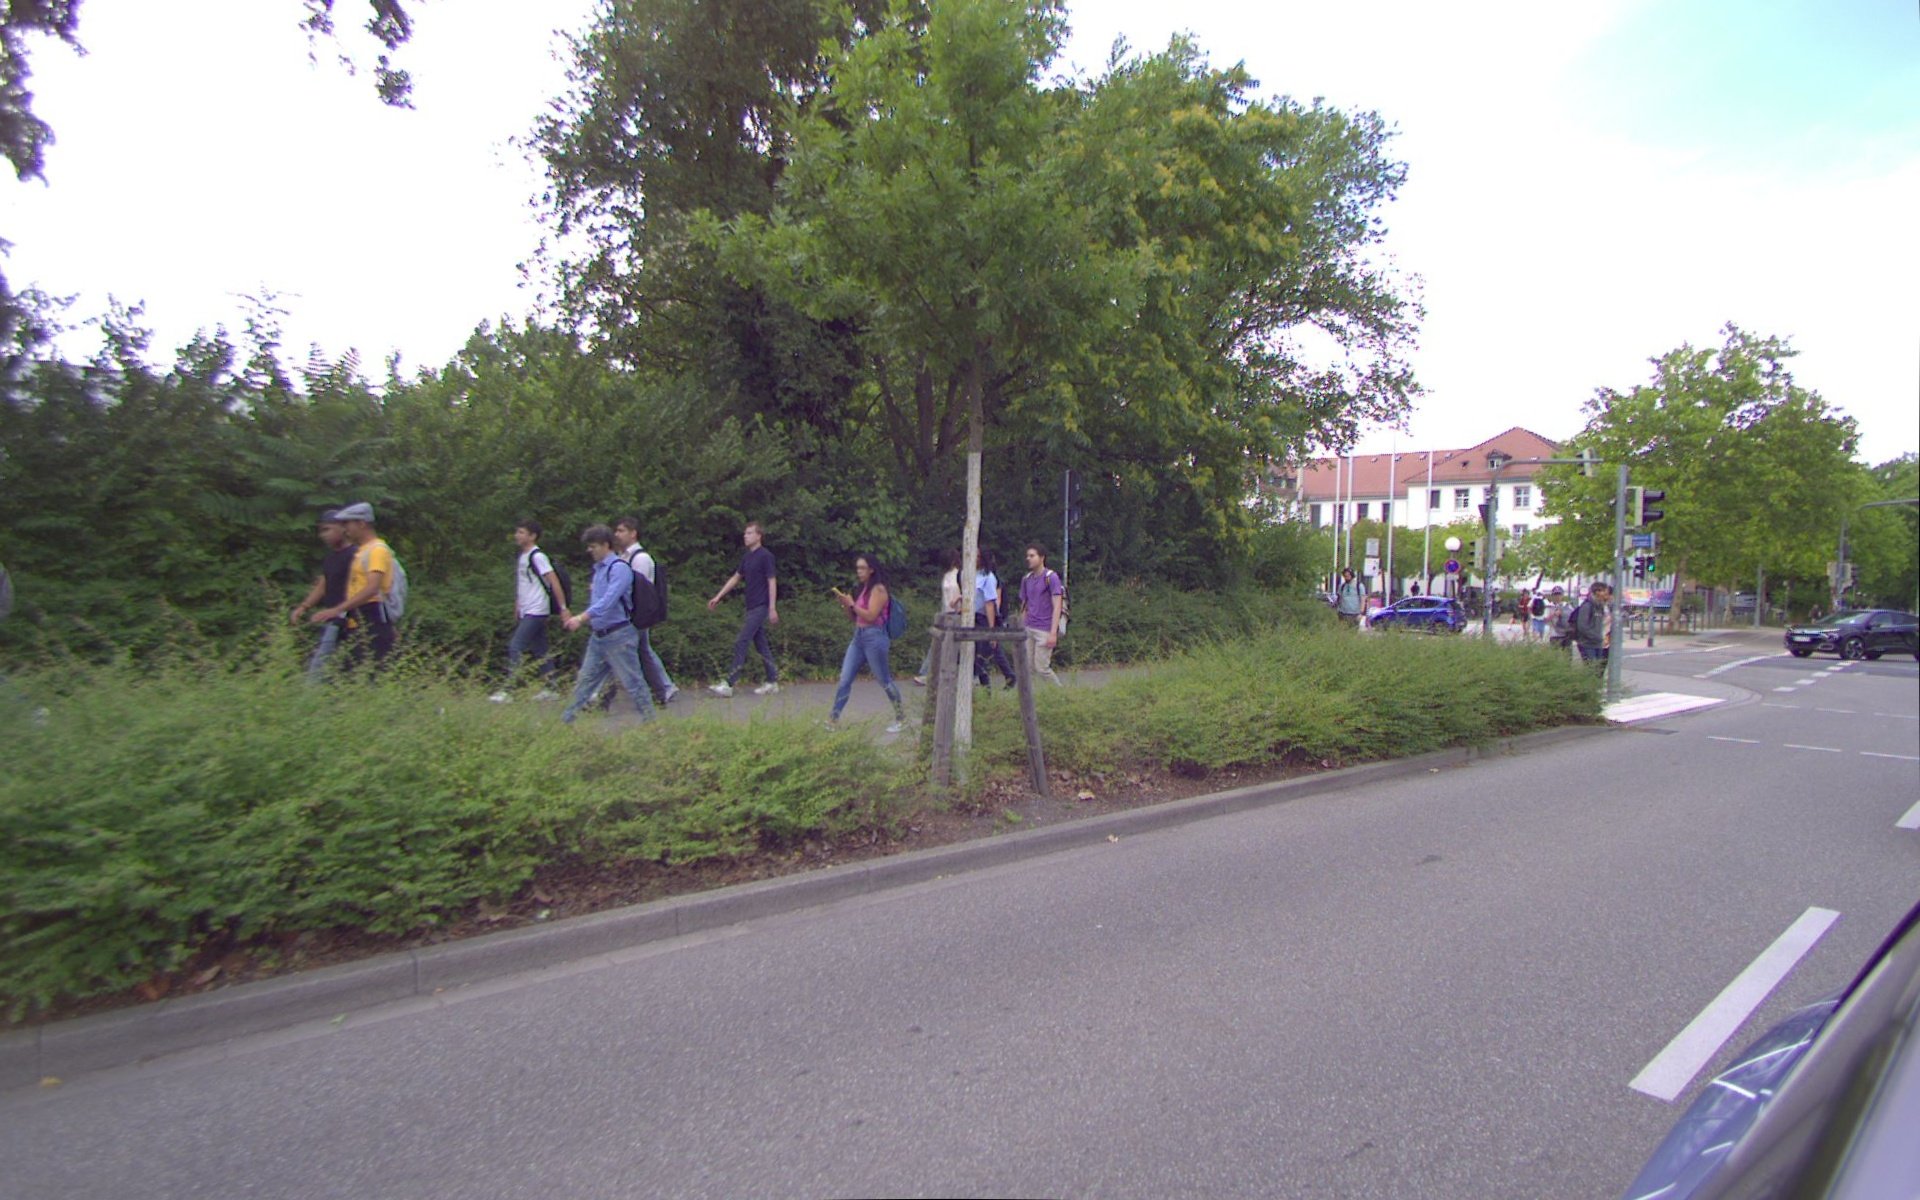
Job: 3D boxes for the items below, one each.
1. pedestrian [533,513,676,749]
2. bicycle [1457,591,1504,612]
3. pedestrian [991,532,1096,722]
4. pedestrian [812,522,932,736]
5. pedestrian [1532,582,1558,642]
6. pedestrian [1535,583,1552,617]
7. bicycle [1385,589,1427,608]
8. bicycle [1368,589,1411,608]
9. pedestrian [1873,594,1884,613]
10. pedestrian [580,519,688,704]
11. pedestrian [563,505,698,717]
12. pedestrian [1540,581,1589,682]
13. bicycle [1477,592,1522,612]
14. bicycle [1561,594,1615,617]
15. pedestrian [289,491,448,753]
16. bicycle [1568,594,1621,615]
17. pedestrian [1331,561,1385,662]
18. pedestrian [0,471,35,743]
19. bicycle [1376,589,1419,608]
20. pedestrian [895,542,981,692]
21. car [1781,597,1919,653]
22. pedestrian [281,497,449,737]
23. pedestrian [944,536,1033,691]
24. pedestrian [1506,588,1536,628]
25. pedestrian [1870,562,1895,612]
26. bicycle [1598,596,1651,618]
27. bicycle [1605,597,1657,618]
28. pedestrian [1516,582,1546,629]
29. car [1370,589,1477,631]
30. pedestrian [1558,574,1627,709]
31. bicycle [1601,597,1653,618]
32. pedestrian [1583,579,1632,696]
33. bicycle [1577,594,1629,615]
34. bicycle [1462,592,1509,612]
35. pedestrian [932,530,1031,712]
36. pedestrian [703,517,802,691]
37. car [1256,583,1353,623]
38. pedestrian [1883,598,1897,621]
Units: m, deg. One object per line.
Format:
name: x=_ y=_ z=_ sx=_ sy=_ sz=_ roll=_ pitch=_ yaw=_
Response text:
pedestrian: x=-2.694 y=0.208 z=7.666 sx=0.798 sy=1.668 sz=0.657 roll=1 pitch=1 yaw=-43
bicycle: x=32.209 y=0.088 z=62.622 sx=0.705 sy=1.156 sz=2.469 roll=1 pitch=1 yaw=-42
pedestrian: x=0.821 y=0.238 z=9.896 sx=0.767 sy=1.767 sz=0.625 roll=1 pitch=1 yaw=-43
pedestrian: x=-0.770 y=0.226 z=8.848 sx=0.767 sy=1.767 sz=0.657 roll=1 pitch=1 yaw=-43
pedestrian: x=18.660 y=0.377 z=32.269 sx=0.642 sy=1.875 sz=0.819 roll=1 pitch=0 yaw=35
pedestrian: x=33.988 y=-0.013 z=58.947 sx=0.674 sy=1.988 sz=0.601 roll=1 pitch=0 yaw=7
bicycle: x=29.632 y=-0.105 z=67.310 sx=0.705 sy=1.156 sz=2.469 roll=1 pitch=1 yaw=-42
bicycle: x=27.841 y=-0.096 z=65.597 sx=0.705 sy=1.156 sz=2.469 roll=1 pitch=1 yaw=-42
pedestrian: x=80.924 y=0.298 z=89.177 sx=0.645 sy=1.584 sz=0.792 roll=2 pitch=1 yaw=44
pedestrian: x=-3.189 y=0.096 z=9.887 sx=0.767 sy=1.720 sz=0.657 roll=1 pitch=1 yaw=-43
pedestrian: x=-2.963 y=0.082 z=9.108 sx=0.941 sy=1.788 sz=0.657 roll=1 pitch=1 yaw=-43
pedestrian: x=10.523 y=0.525 z=17.610 sx=0.626 sy=1.708 sz=0.546 roll=1 pitch=1 yaw=-43
bicycle: x=34.549 y=0.118 z=64.818 sx=0.705 sy=1.156 sz=2.469 roll=1 pitch=1 yaw=-42
bicycle: x=35.342 y=0.296 z=56.951 sx=0.705 sy=1.156 sz=2.469 roll=1 pitch=1 yaw=-42
pedestrian: x=-4.168 y=0.131 z=7.137 sx=0.827 sy=1.710 sz=0.657 roll=1 pitch=1 yaw=-43
bicycle: x=36.313 y=0.250 z=57.973 sx=0.705 sy=1.156 sz=2.469 roll=1 pitch=1 yaw=-42
pedestrian: x=7.371 y=0.191 z=18.744 sx=0.728 sy=1.817 sz=0.645 roll=1 pitch=1 yaw=-43
pedestrian: x=-6.669 y=0.029 z=6.666 sx=0.798 sy=1.766 sz=0.723 roll=1 pitch=1 yaw=-40
bicycle: x=28.696 y=-0.100 z=66.407 sx=0.705 sy=1.156 sz=2.469 roll=1 pitch=1 yaw=-42
pedestrian: x=-0.270 y=0.189 z=12.477 sx=0.767 sy=1.767 sz=0.657 roll=1 pitch=1 yaw=-43
car: x=27.560 y=0.747 z=30.503 sx=4.097 sy=1.576 sz=1.805 roll=1 pitch=0 yaw=1
pedestrian: x=-4.508 y=0.107 z=7.678 sx=0.955 sy=1.687 sz=0.657 roll=1 pitch=1 yaw=-43
pedestrian: x=0.341 y=0.138 z=12.031 sx=0.767 sy=1.767 sz=0.657 roll=1 pitch=1 yaw=-43
pedestrian: x=25.077 y=0.351 z=45.261 sx=0.687 sy=1.730 sz=0.956 roll=1 pitch=0 yaw=-25
pedestrian: x=34.234 y=-0.471 z=37.558 sx=0.670 sy=1.839 sz=0.574 roll=1 pitch=1 yaw=-41
bicycle: x=38.870 y=0.401 z=59.247 sx=0.705 sy=1.156 sz=2.469 roll=1 pitch=1 yaw=-42
bicycle: x=40.095 y=0.429 z=60.462 sx=0.705 sy=1.156 sz=2.469 roll=1 pitch=1 yaw=-42
pedestrian: x=22.753 y=0.218 z=40.308 sx=0.875 sy=1.827 sz=0.769 roll=1 pitch=0 yaw=-39
car: x=18.597 y=0.347 z=40.707 sx=1.647 sy=1.510 sz=3.575 roll=-1 pitch=2 yaw=-44
pedestrian: x=8.526 y=0.541 z=13.652 sx=0.643 sy=1.756 sz=0.602 roll=1 pitch=1 yaw=-43
bicycle: x=39.475 y=0.434 z=59.923 sx=0.705 sy=1.156 sz=2.469 roll=1 pitch=1 yaw=-42
pedestrian: x=10.004 y=0.557 z=15.634 sx=0.626 sy=1.756 sz=0.454 roll=1 pitch=1 yaw=-43
bicycle: x=37.587 y=0.256 z=59.183 sx=0.705 sy=1.156 sz=2.469 roll=1 pitch=1 yaw=-42
bicycle: x=32.806 y=0.123 z=63.181 sx=0.705 sy=1.156 sz=2.469 roll=1 pitch=1 yaw=-42
pedestrian: x=0.219 y=0.196 z=10.271 sx=0.776 sy=1.767 sz=0.582 roll=1 pitch=1 yaw=-43
pedestrian: x=-2.211 y=0.033 z=10.765 sx=0.767 sy=1.767 sz=0.657 roll=1 pitch=1 yaw=-43
car: x=15.083 y=0.100 z=44.386 sx=1.647 sy=1.586 sz=3.687 roll=-1 pitch=2 yaw=-44
pedestrian: x=81.441 y=0.854 z=88.590 sx=0.747 sy=1.957 sz=0.796 roll=1 pitch=1 yaw=-44
